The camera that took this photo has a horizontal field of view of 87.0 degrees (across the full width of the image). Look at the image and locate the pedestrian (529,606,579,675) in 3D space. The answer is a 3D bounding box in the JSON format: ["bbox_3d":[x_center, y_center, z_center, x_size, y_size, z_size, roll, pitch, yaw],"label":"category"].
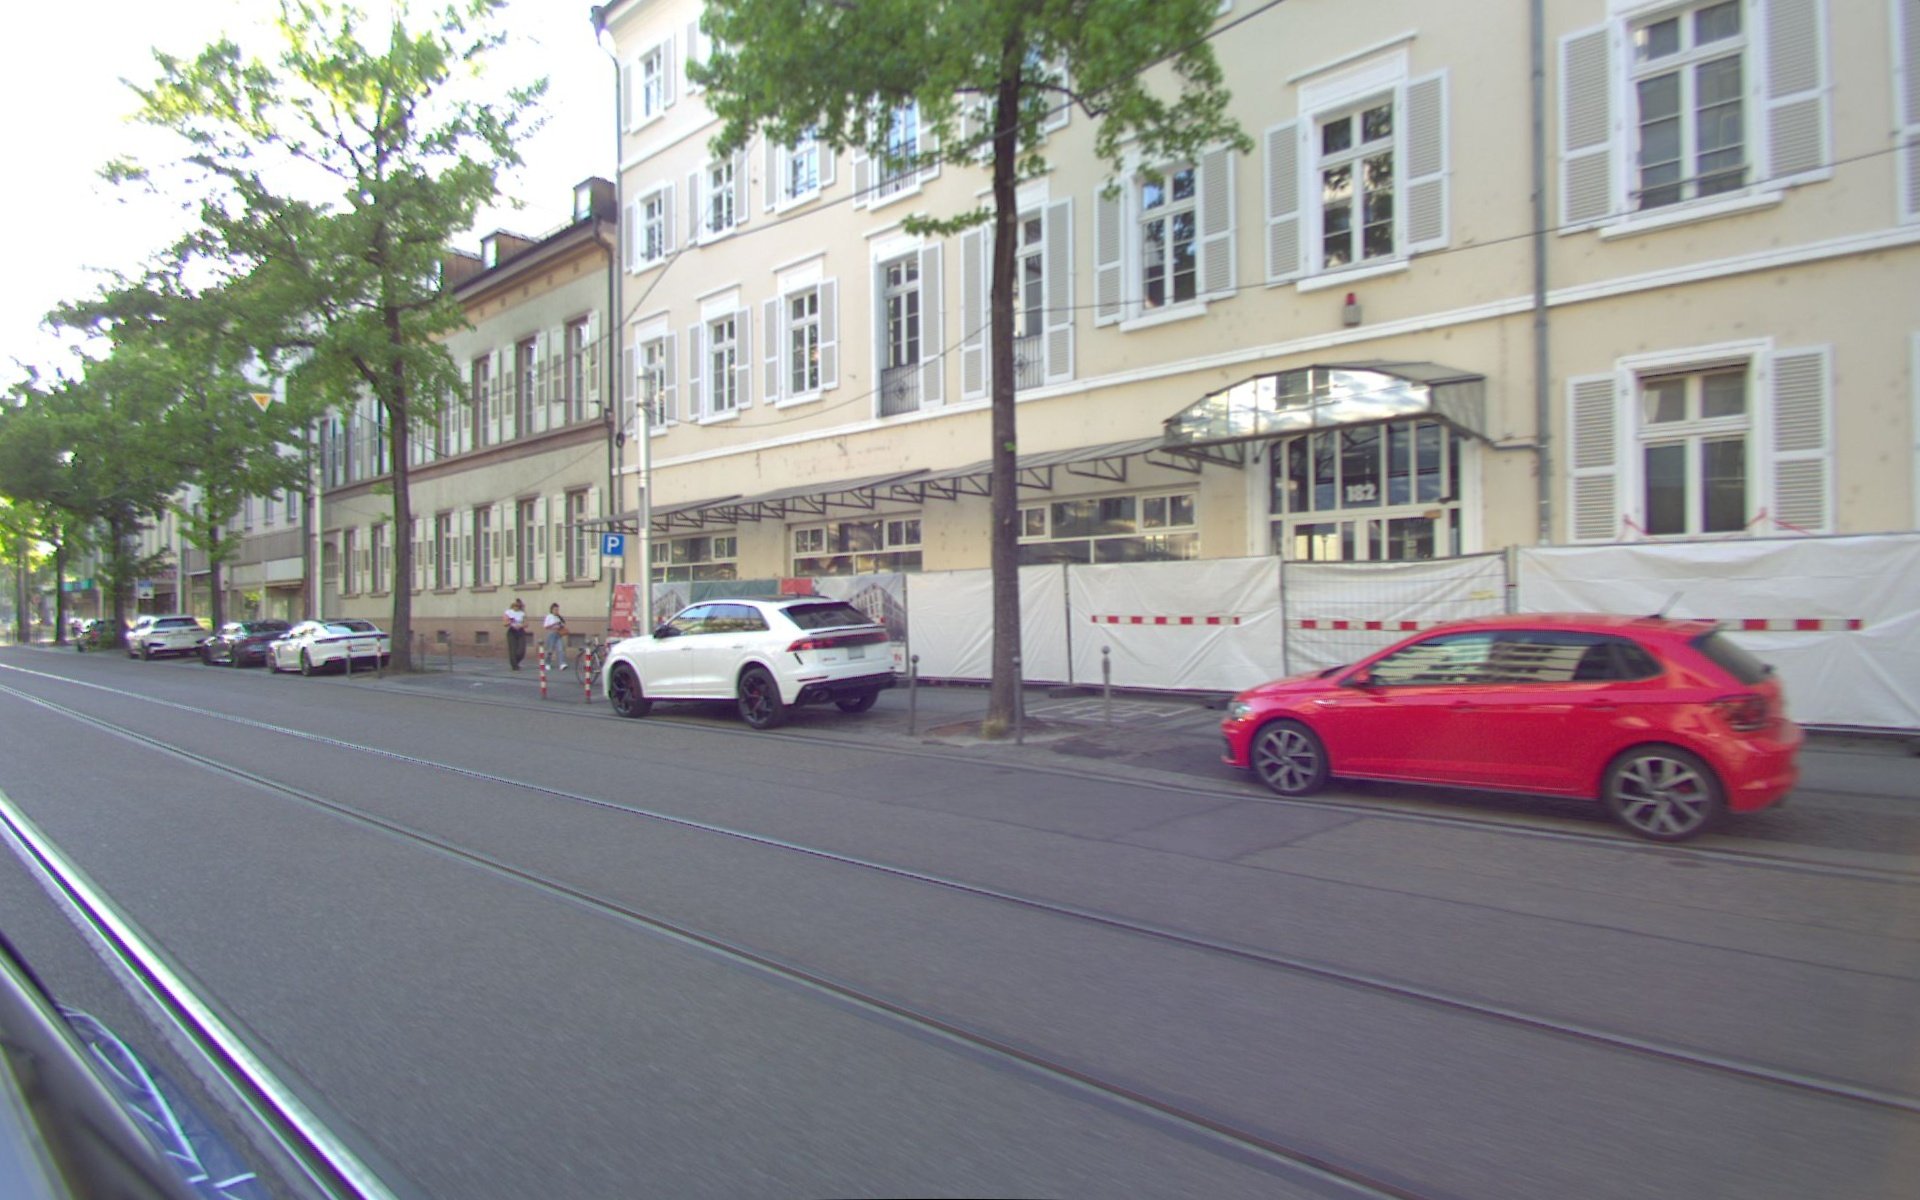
[{"bbox_3d":[-9.860,0.972,24.573,0.933,1.592,0.736,-1,1,41],"label":"pedestrian"}]

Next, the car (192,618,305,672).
[{"bbox_3d":[-22.461,1.399,31.897,4.337,1.477,1.724,-2,2,39],"label":"car"}]

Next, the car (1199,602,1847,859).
[{"bbox_3d":[4.153,0.796,7.901,4.140,1.416,1.642,-1,2,42],"label":"car"}]

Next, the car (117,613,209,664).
[{"bbox_3d":[-31.184,1.483,39.536,4.763,1.754,1.927,-2,2,41],"label":"car"}]

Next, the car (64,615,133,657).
[{"bbox_3d":[-42.194,1.748,49.532,4.763,1.972,1.907,-2,-2,41],"label":"car"}]

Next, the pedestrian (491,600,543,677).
[{"bbox_3d":[-10.501,0.906,24.001,0.933,1.755,0.736,-1,1,42],"label":"pedestrian"}]

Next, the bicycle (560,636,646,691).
[{"bbox_3d":[-6.959,1.205,19.696,1.892,0.982,0.620,-1,1,38],"label":"bicycle"}]

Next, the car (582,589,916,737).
[{"bbox_3d":[-3.125,0.791,14.378,4.945,1.701,1.848,-1,2,38],"label":"car"}]

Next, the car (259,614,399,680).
[{"bbox_3d":[-16.705,1.206,26.693,4.615,1.477,1.873,-2,2,42],"label":"car"}]
